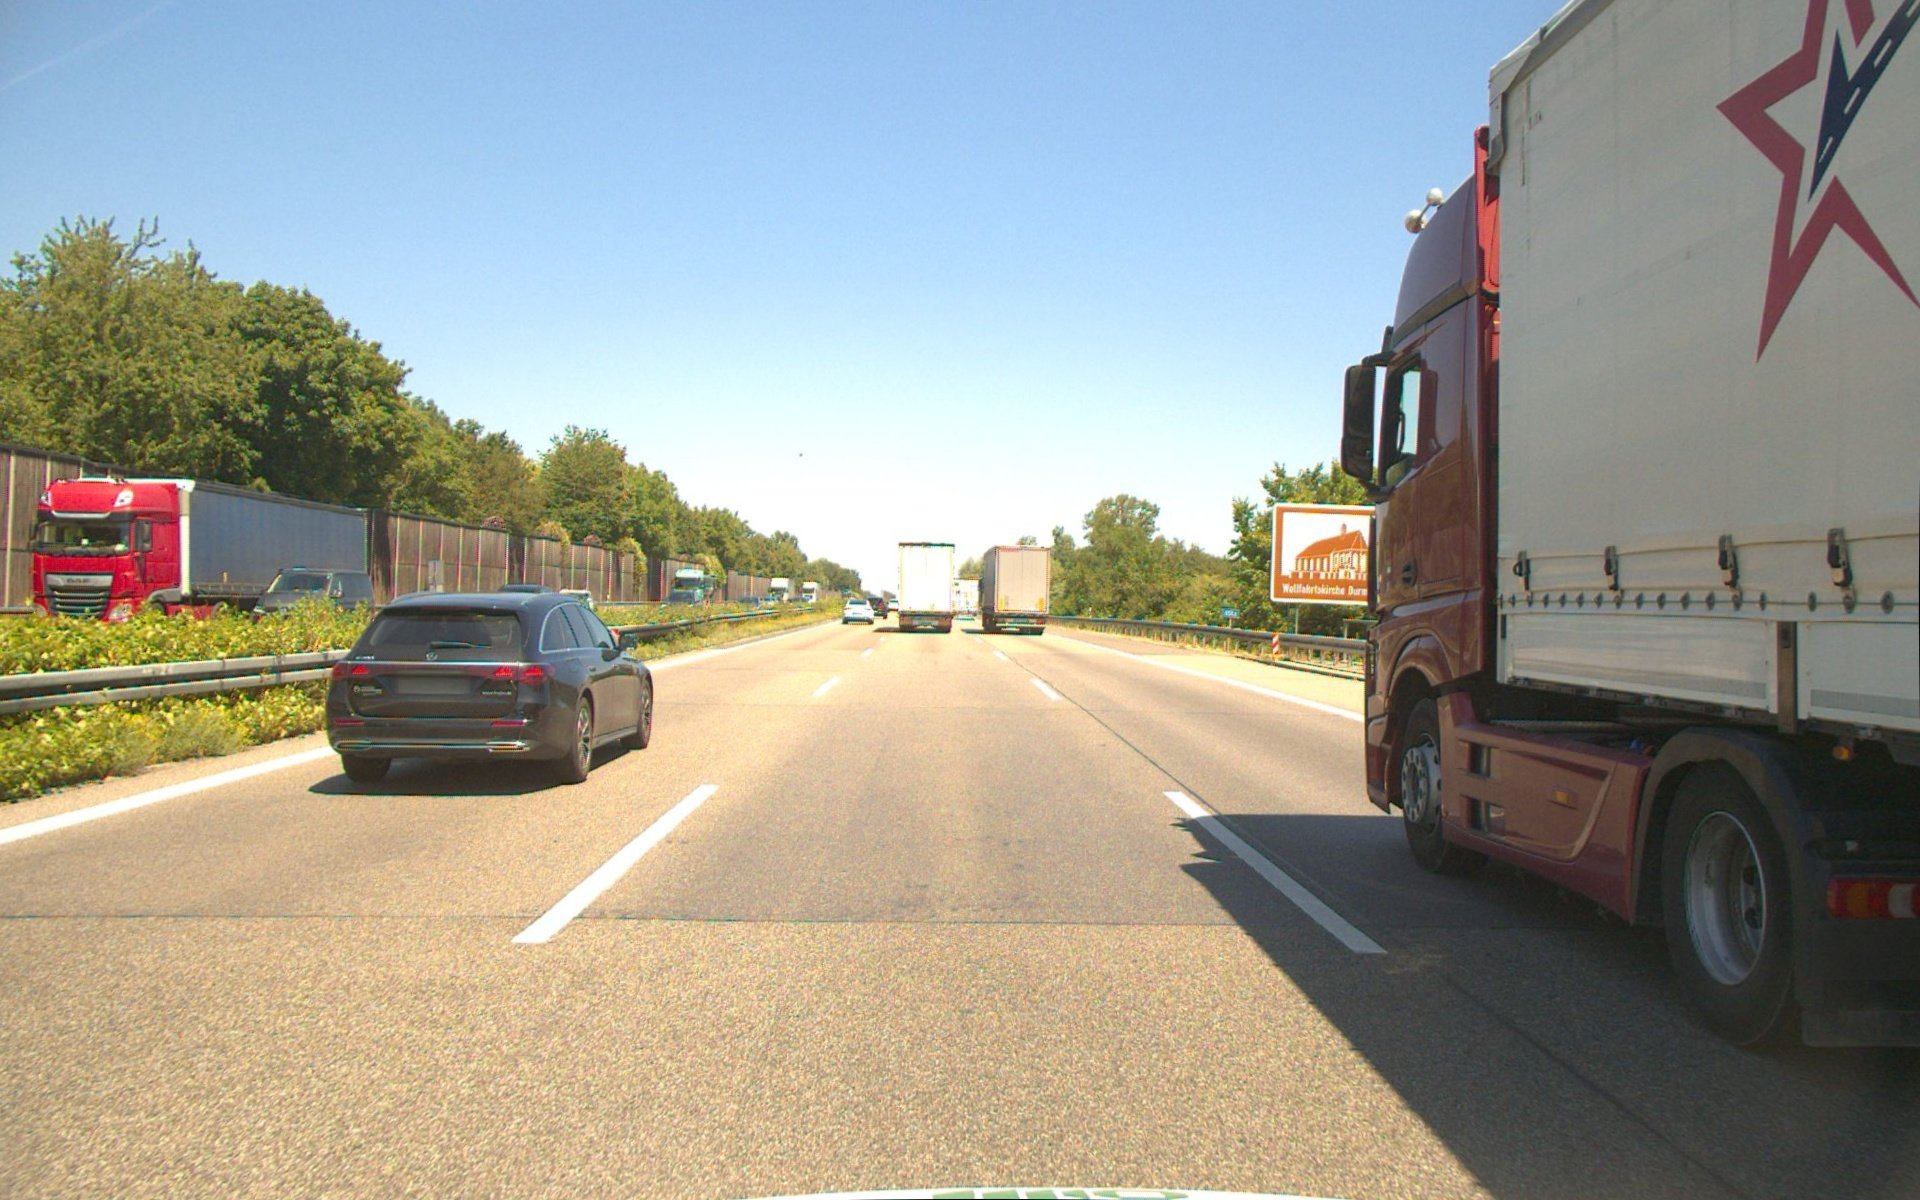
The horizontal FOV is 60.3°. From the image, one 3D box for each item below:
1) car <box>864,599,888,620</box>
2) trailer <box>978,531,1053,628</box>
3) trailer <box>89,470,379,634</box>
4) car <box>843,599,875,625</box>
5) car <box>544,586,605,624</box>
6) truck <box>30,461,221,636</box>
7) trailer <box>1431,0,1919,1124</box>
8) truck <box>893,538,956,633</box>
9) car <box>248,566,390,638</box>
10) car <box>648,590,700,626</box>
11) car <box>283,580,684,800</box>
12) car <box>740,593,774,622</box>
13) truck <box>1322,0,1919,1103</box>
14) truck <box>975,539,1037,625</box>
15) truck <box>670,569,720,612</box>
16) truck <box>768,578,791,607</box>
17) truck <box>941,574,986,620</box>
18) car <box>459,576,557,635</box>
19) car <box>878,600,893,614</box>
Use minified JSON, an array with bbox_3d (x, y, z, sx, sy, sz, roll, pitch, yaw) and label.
[{"bbox_3d":[-6.682,0.743,131.501,1.818,1.645,3.997,1,0,-3],"label":"car"},{"bbox_3d":[2.593,-0.915,81.422,2.649,4.289,13.206,2,0,-2],"label":"trailer"},{"bbox_3d":[-21.036,-1.219,49.352,2.445,4.159,14.268,1,0,-1],"label":"trailer"},{"bbox_3d":[-6.119,0.717,99.759,1.819,1.512,3.996,1,0,-4],"label":"car"},{"bbox_3d":[-18.633,0.222,80.169,1.953,1.750,4.531,1,0,-1],"label":"car"},{"bbox_3d":[-20.974,-1.230,41.833,2.436,4.159,4.676,1,0,-1],"label":"truck"},{"bbox_3d":[4.016,-0.628,1.873,2.652,4.160,14.148,1,0,-1],"label":"trailer"},{"bbox_3d":[-1.838,-0.638,80.940,2.652,4.157,13.467,2,0,-2],"label":"truck"},{"bbox_3d":[-17.545,0.057,45.540,1.953,1.847,5.218,1,0,-1],"label":"car"},{"bbox_3d":[-14.557,0.399,84.444,1.953,1.750,4.531,1,0,-1],"label":"car"},{"bbox_3d":[-3.866,0.630,14.653,1.904,1.533,5.820,1,0,-1],"label":"car"},{"bbox_3d":[-14.793,0.527,120.717,1.954,1.981,3.999,4,0,-1],"label":"car"},{"bbox_3d":[3.913,-0.661,8.081,2.652,4.160,6.963,1,0,0],"label":"truck"},{"bbox_3d":[2.364,-0.897,87.510,2.637,4.289,7.834,2,0,-2],"label":"truck"},{"bbox_3d":[-24.627,-0.831,154.034,3.028,3.739,12.363,1,0,-2],"label":"truck"},{"bbox_3d":[-26.633,-1.133,243.959,2.702,4.092,6.731,2,0,-2],"label":"truck"},{"bbox_3d":[0.281,-0.327,168.389,3.309,4.378,11.439,4,0,-5],"label":"truck"},{"bbox_3d":[-14.122,0.170,51.914,1.953,1.750,4.244,1,0,-1],"label":"car"},{"bbox_3d":[-9.397,0.873,207.815,1.818,1.645,3.997,1,0,-4],"label":"car"}]
